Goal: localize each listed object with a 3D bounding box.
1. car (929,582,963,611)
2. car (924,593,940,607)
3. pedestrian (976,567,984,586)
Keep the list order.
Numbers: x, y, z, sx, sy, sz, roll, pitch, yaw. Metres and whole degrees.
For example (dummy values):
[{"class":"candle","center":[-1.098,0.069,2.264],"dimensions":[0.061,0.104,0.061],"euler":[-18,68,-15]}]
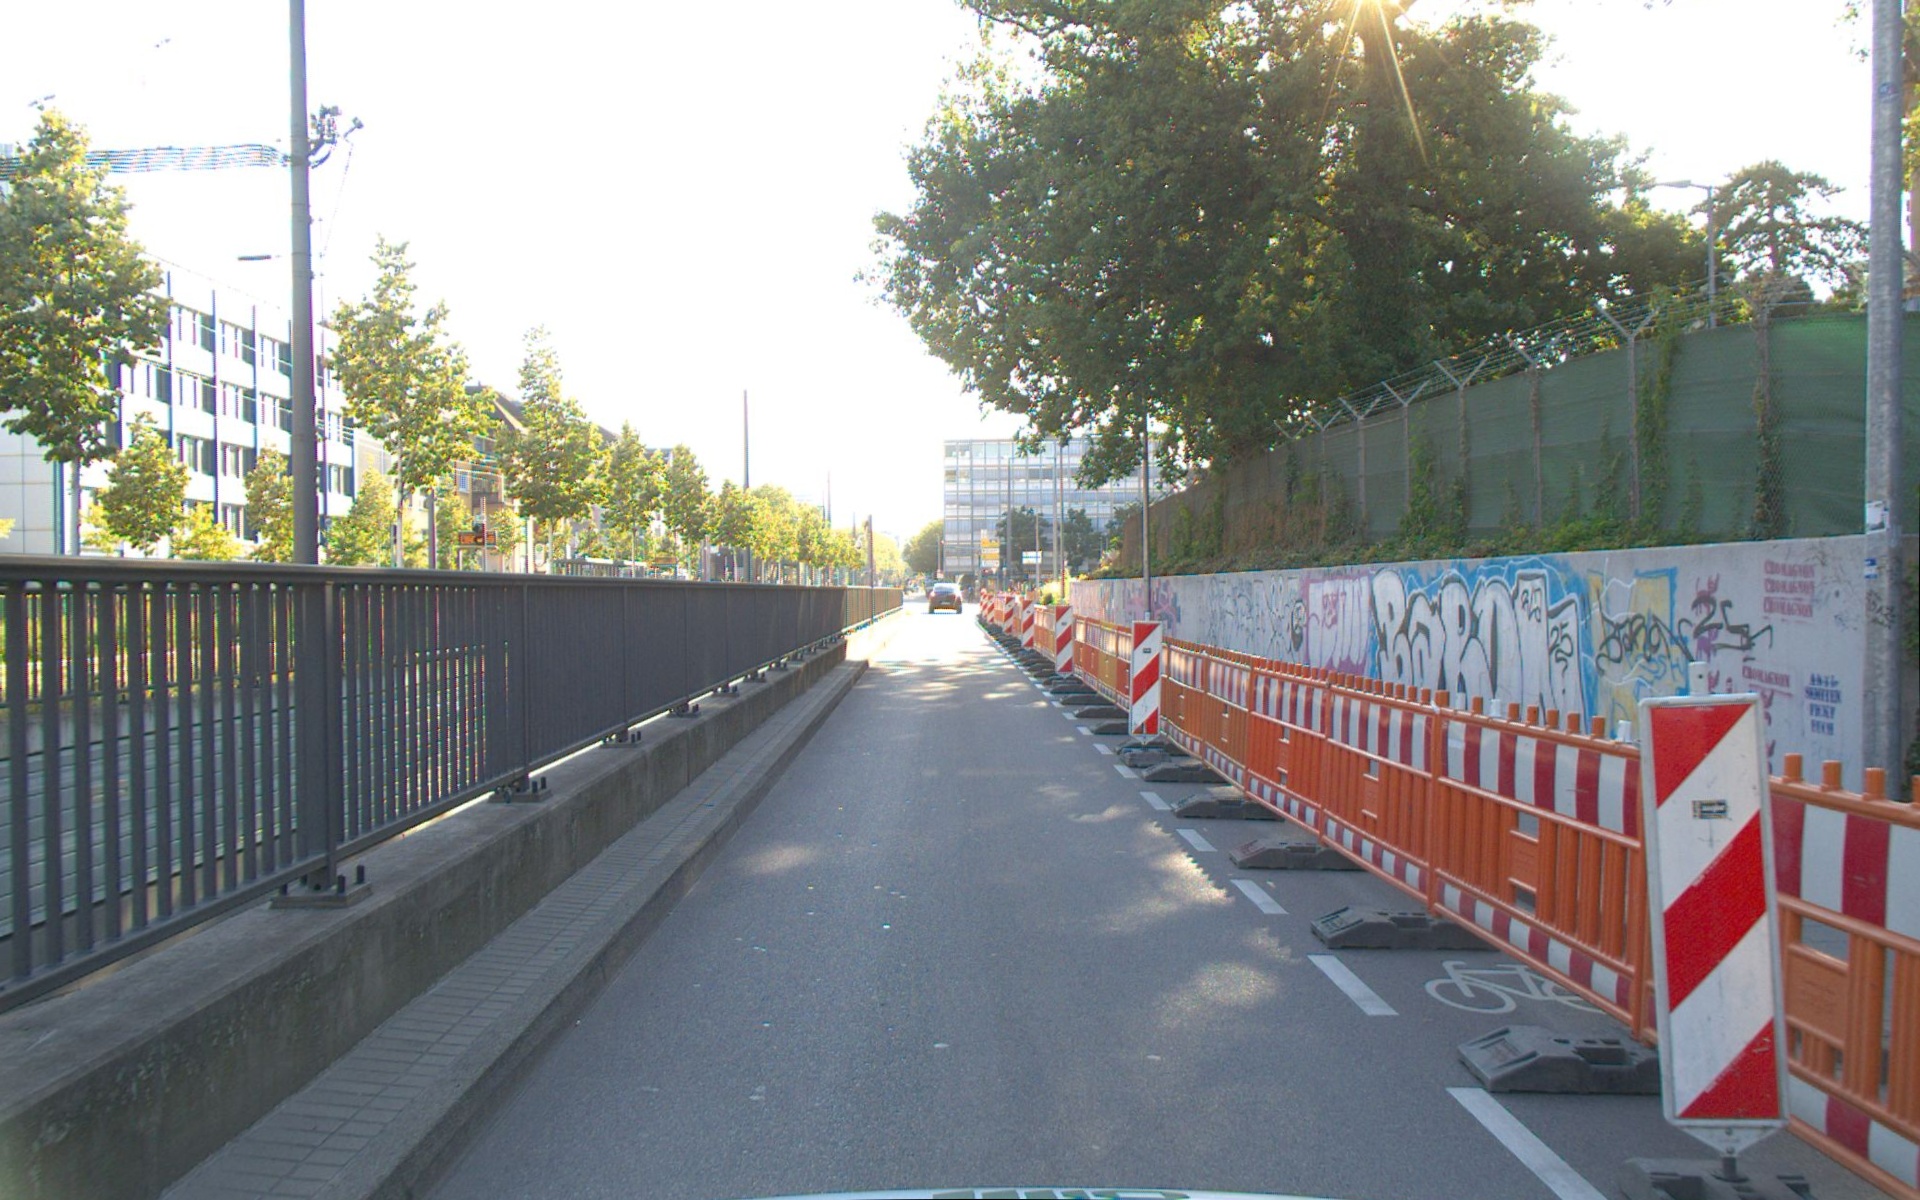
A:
[{"class":"car","center":[-0.831,-0.206,98.753],"dimensions":[1.964,1.688,4.000],"euler":[1,0,0]},{"class":"car","center":[-3.461,-0.003,203.380],"dimensions":[1.953,1.646,3.998],"euler":[0,0,-2]},{"class":"pedestrian","center":[2.364,-2.731,192.115],"dimensions":[0.873,2.149,0.718],"euler":[0,1,4]}]
